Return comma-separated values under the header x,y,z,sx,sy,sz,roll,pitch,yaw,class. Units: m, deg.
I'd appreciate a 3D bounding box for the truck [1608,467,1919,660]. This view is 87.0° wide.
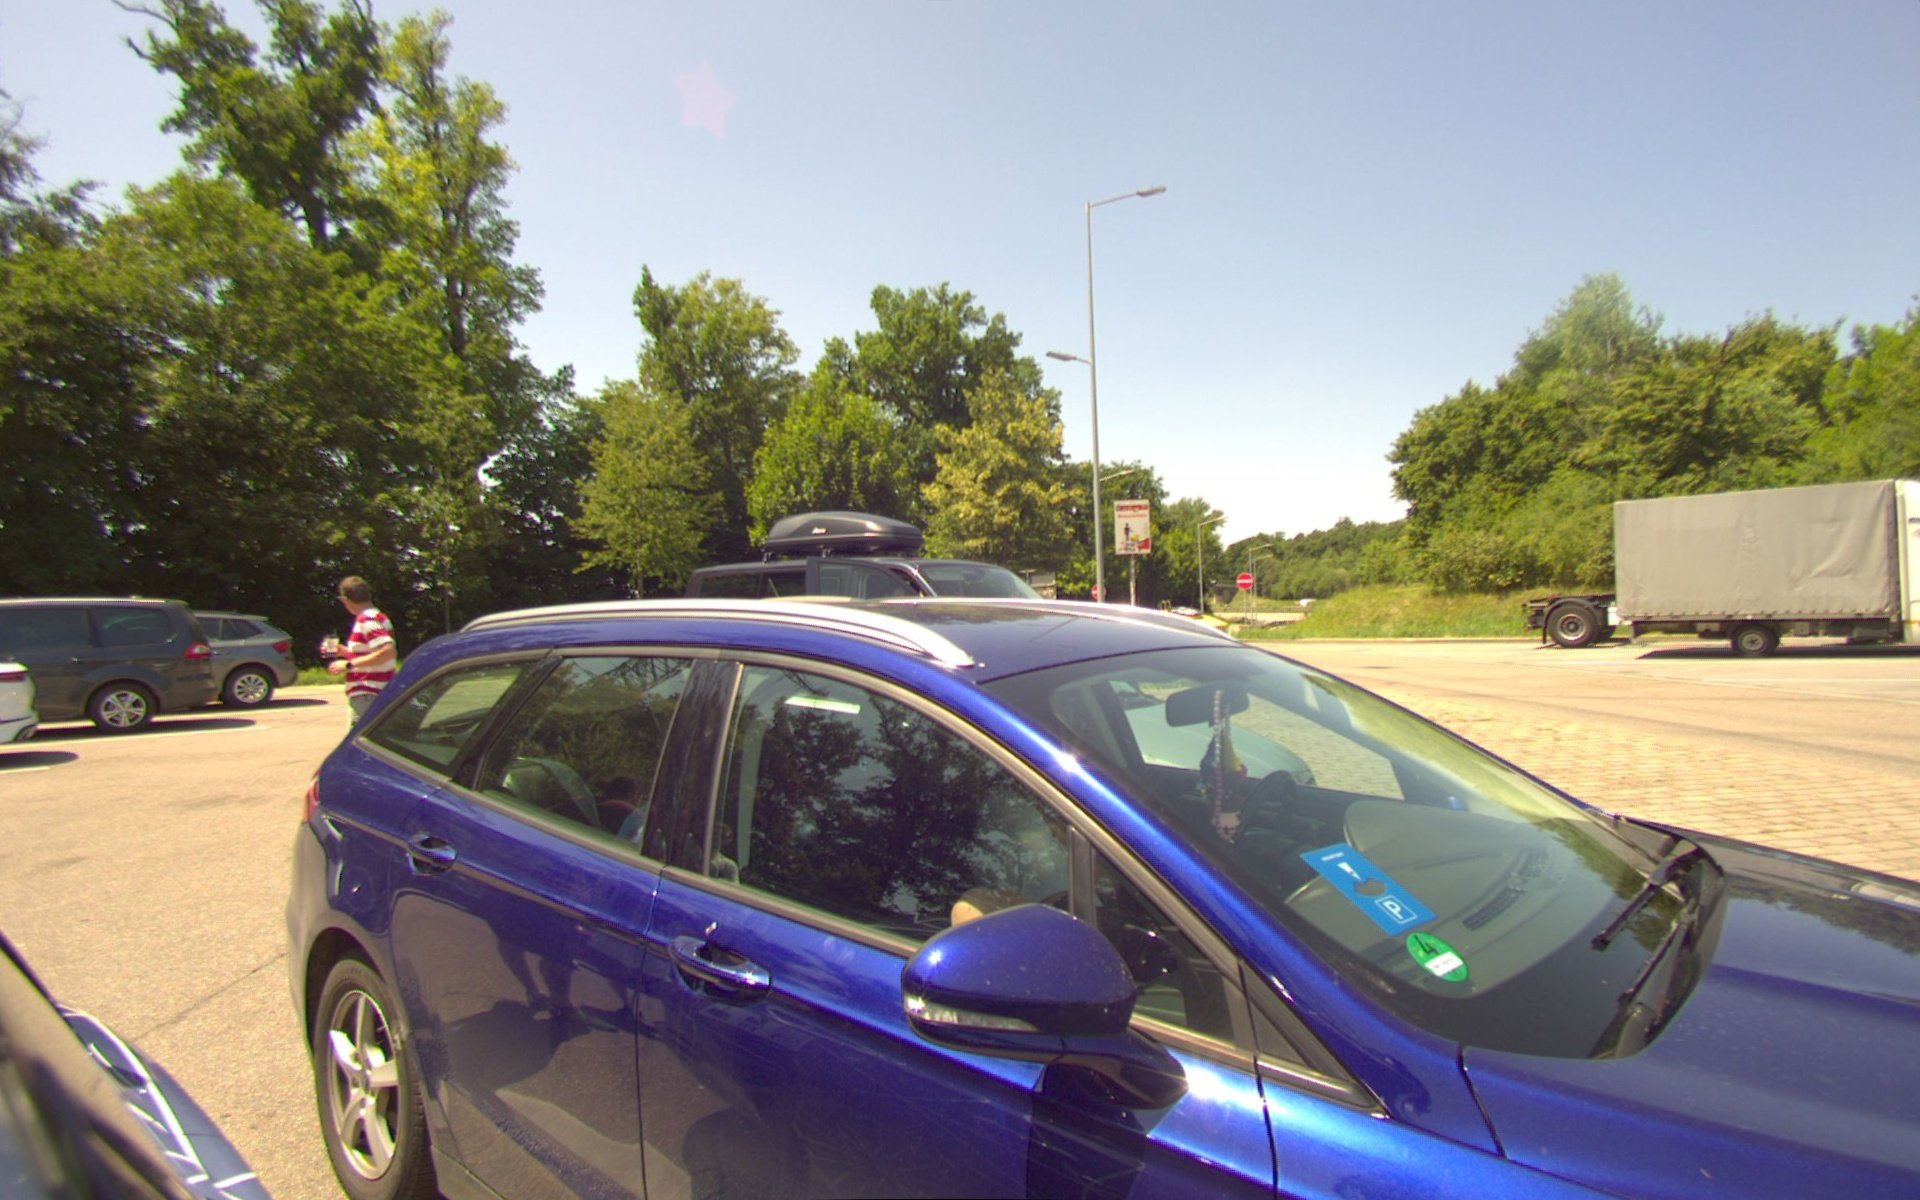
x,y,z,sx,sy,sz,roll,pitch,yaw,class
16.778,-0.649,19.013,7.274,3.269,2.678,-4,-1,42,truck

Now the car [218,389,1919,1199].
x,y,z,sx,sy,sz,roll,pitch,yaw,class
0.228,0.632,2.077,4.569,1.482,1.735,-3,0,40,car

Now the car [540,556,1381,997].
x,y,z,sx,sy,sz,roll,pitch,yaw,class
-0.327,0.667,5.614,4.569,1.517,1.735,-3,0,40,car

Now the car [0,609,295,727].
x,y,z,sx,sy,sz,roll,pitch,yaw,class
-12.627,0.966,15.669,3.767,1.572,1.654,-1,0,-38,car

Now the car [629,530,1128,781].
x,y,z,sx,sy,sz,roll,pitch,yaw,class
-0.897,0.496,9.663,4.558,1.912,1.740,-3,0,32,car

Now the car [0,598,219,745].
x,y,z,sx,sy,sz,roll,pitch,yaw,class
-11.635,0.863,12.662,3.767,1.708,1.654,-1,0,-38,car

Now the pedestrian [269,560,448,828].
x,y,z,sx,sy,sz,roll,pitch,yaw,class
-4.220,0.622,7.146,0.747,1.767,0.782,-1,0,13,pedestrian

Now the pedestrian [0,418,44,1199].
x,y,z,sx,sy,sz,roll,pitch,yaw,class
-2.733,0.519,2.247,0.905,1.919,0.816,-1,0,-33,pedestrian

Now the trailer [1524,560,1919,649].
x,y,z,sx,sy,sz,roll,pitch,yaw,class
17.703,0.155,23.110,8.098,1.638,2.187,-4,-1,41,trailer
